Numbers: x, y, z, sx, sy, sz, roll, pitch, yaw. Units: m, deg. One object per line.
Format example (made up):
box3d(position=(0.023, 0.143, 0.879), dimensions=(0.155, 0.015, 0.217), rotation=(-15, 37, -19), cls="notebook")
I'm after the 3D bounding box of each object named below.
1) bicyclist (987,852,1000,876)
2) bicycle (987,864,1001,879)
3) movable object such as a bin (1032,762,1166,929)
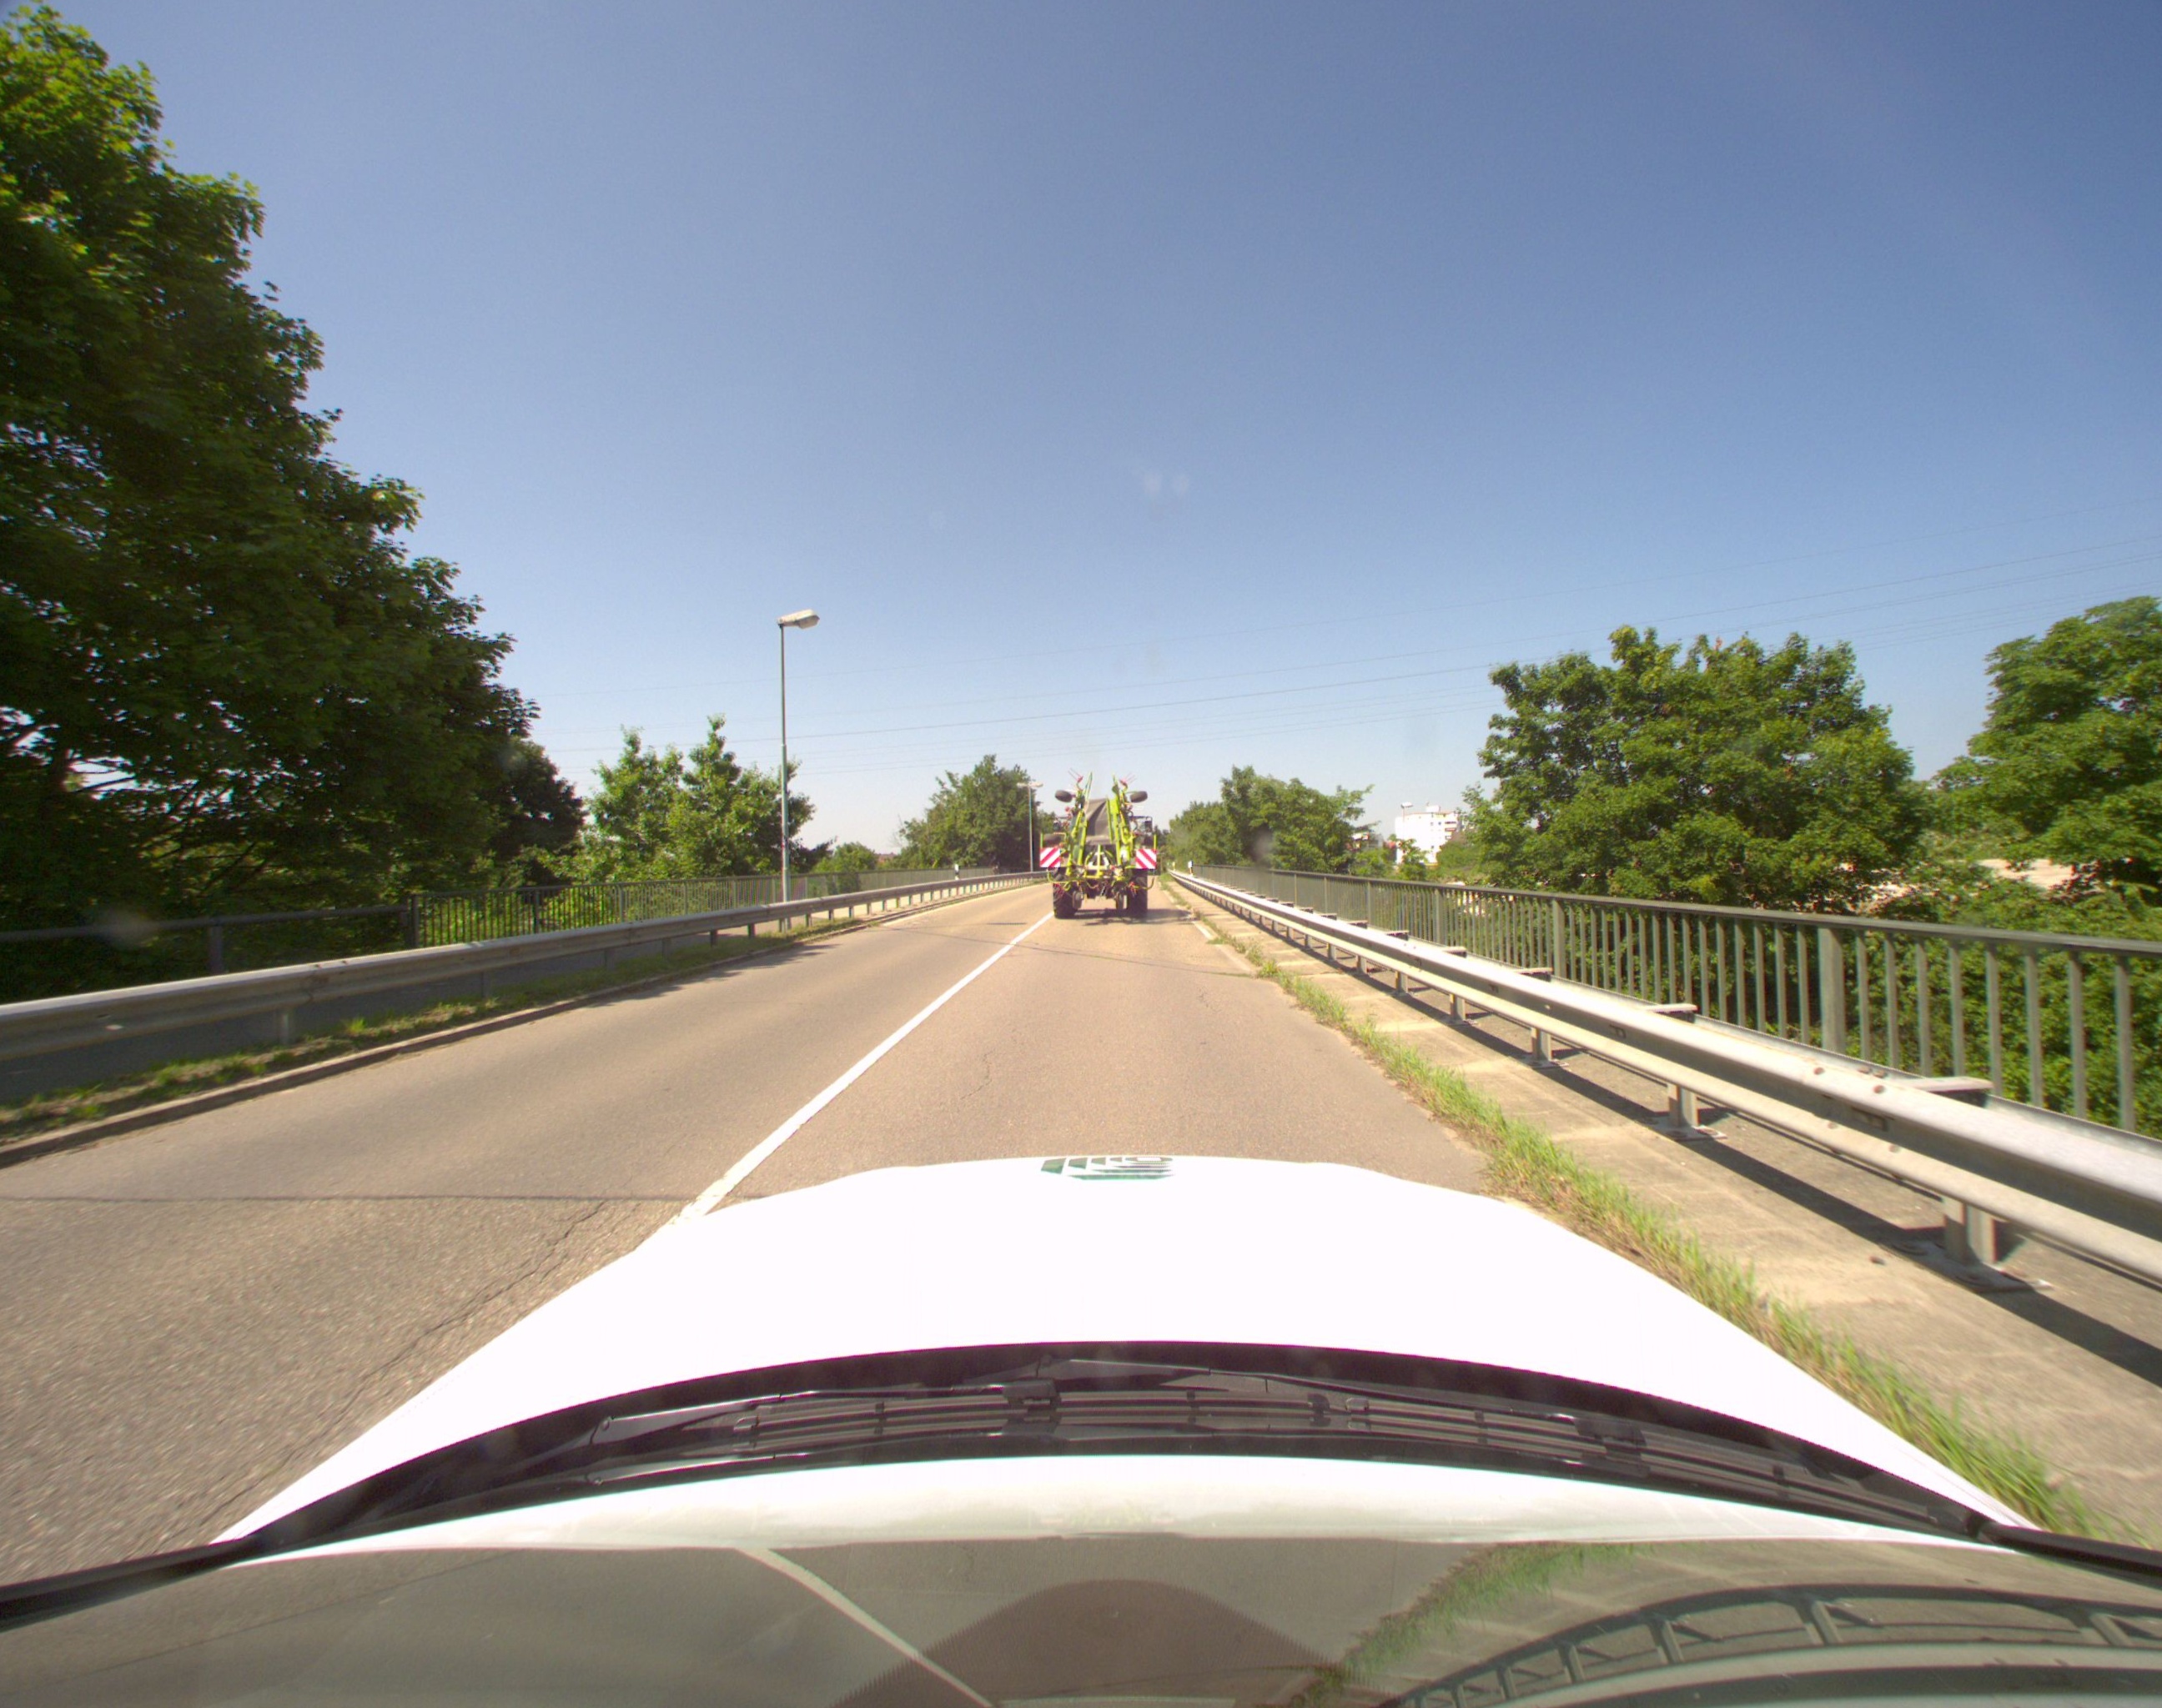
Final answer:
box3d(position=(-6.184, 0.689, 57.567), dimensions=(0.762, 1.634, 0.896), rotation=(-1, 0, 2), cls="bicyclist")
box3d(position=(-6.137, 1.219, 57.581), dimensions=(0.675, 1.001, 2.119), rotation=(-2, 0, 2), cls="bicycle")
box3d(position=(0.455, -0.201, 19.806), dimensions=(2.745, 3.444, 5.671), rotation=(-1, 0, 1), cls="movable object such as a bin")
